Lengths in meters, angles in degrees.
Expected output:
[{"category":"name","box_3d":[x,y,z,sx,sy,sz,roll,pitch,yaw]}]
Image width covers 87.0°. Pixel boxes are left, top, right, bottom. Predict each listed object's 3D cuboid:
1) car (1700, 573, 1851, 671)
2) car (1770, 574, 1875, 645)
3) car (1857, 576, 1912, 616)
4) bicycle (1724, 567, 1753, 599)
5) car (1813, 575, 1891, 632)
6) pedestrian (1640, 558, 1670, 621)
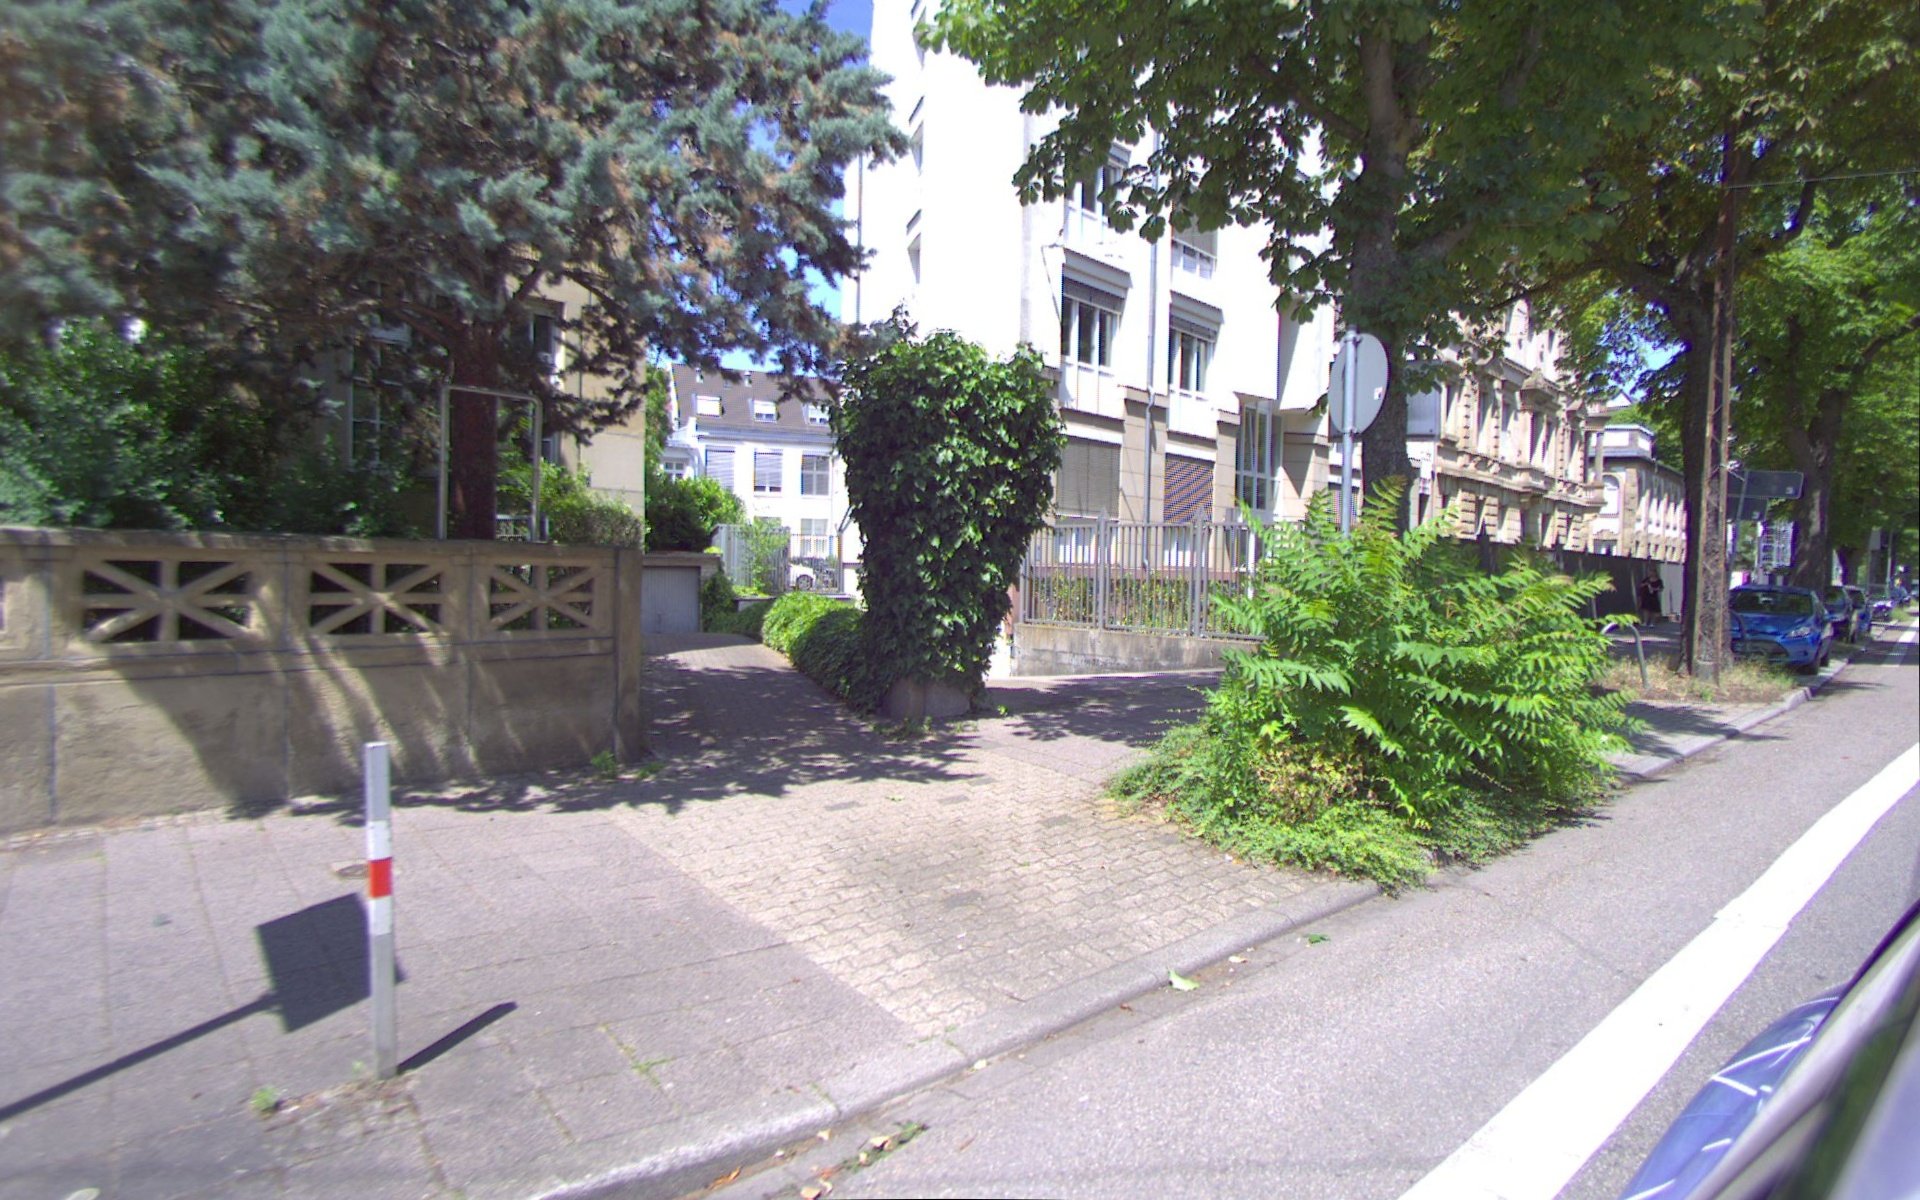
[{"category":"car","box_3d":[14.908,0.305,18.430,1.685,1.479,3.936,4,5,45]},{"category":"car","box_3d":[21.598,0.173,25.292,1.678,1.514,3.857,4,5,44]},{"category":"car","box_3d":[40.388,-0.196,44.194,1.644,1.616,4.050,4,3,43]},{"category":"bicycle","box_3d":[31.013,-0.682,40.293,0.687,1.239,2.086,1,2,44]},{"category":"car","box_3d":[27.612,0.051,31.301,1.611,1.514,3.528,4,5,43]},{"category":"pedestrian","box_3d":[19.351,-0.296,28.174,0.546,1.713,0.743,3,3,44]}]
